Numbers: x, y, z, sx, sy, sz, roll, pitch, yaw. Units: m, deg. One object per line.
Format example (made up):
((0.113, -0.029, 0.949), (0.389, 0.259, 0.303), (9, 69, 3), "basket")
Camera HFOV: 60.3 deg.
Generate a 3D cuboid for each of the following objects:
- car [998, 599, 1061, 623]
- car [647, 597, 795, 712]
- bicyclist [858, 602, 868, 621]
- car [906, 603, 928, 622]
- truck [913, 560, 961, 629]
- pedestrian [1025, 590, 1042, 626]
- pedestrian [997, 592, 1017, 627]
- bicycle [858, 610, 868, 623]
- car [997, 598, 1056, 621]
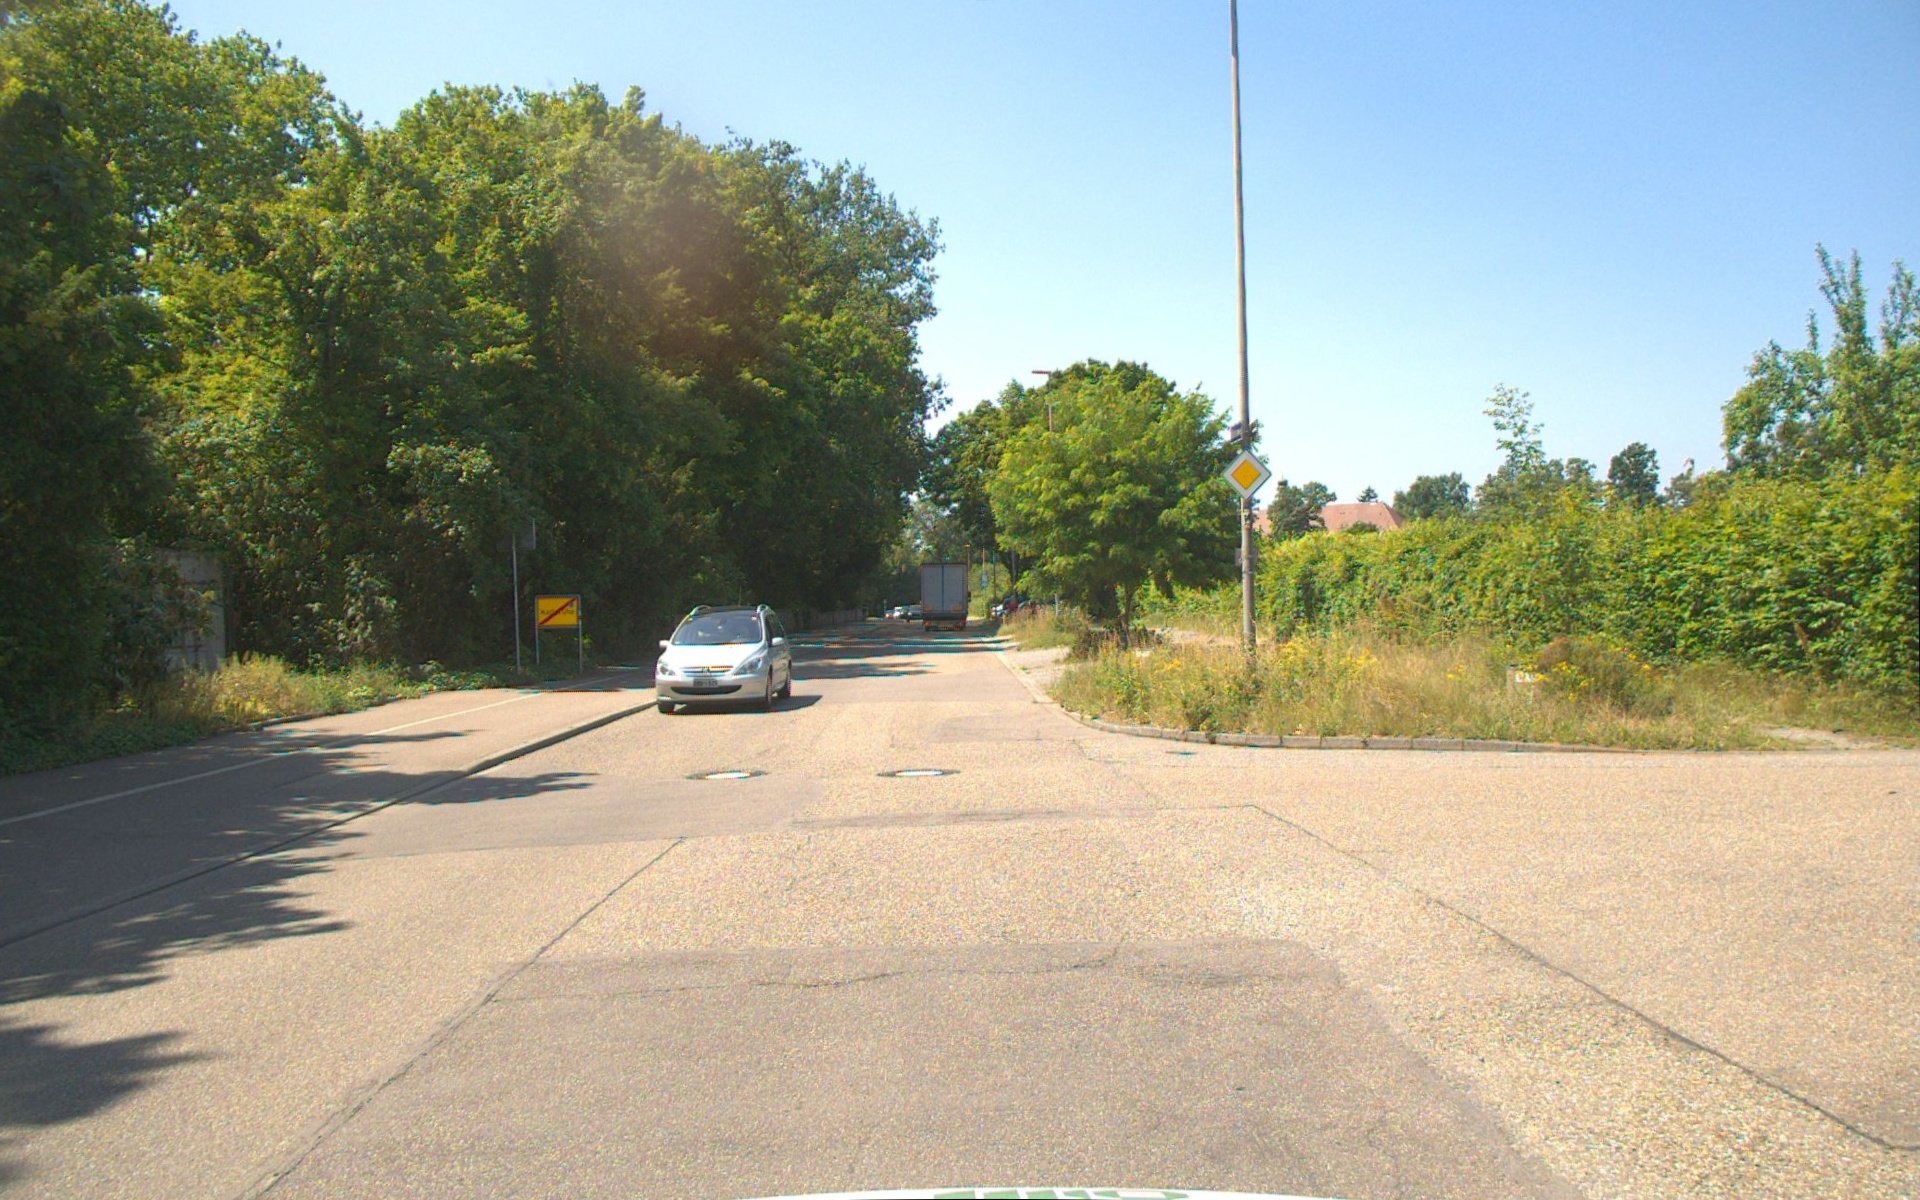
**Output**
((4.710, 0.755, 112.399), (4.110, 1.470, 1.739), (-2, 0, 0), "car")
((-3.719, 0.788, 26.384), (1.755, 1.600, 4.271), (-2, 1, -1), "car")
((-9.193, 1.108, 156.630), (0.815, 1.746, 0.957), (-2, 0, 0), "bicyclist")
((-4.138, 1.210, 160.215), (1.953, 1.713, 4.262), (-2, 0, 0), "car")
((-1.292, -0.308, 99.186), (2.677, 3.811, 13.244), (-1, 0, 0), "truck")
((3.723, 0.399, 83.544), (0.724, 1.769, 0.885), (-2, 0, -2), "pedestrian")
((2.343, 0.454, 82.561), (0.846, 1.706, 0.885), (-2, 0, -2), "pedestrian")
((-9.174, 1.531, 156.639), (0.703, 1.179, 2.230), (-2, 0, 0), "bicycle")
((4.755, 0.704, 118.800), (4.110, 1.470, 1.739), (-2, 0, 0), "car")
